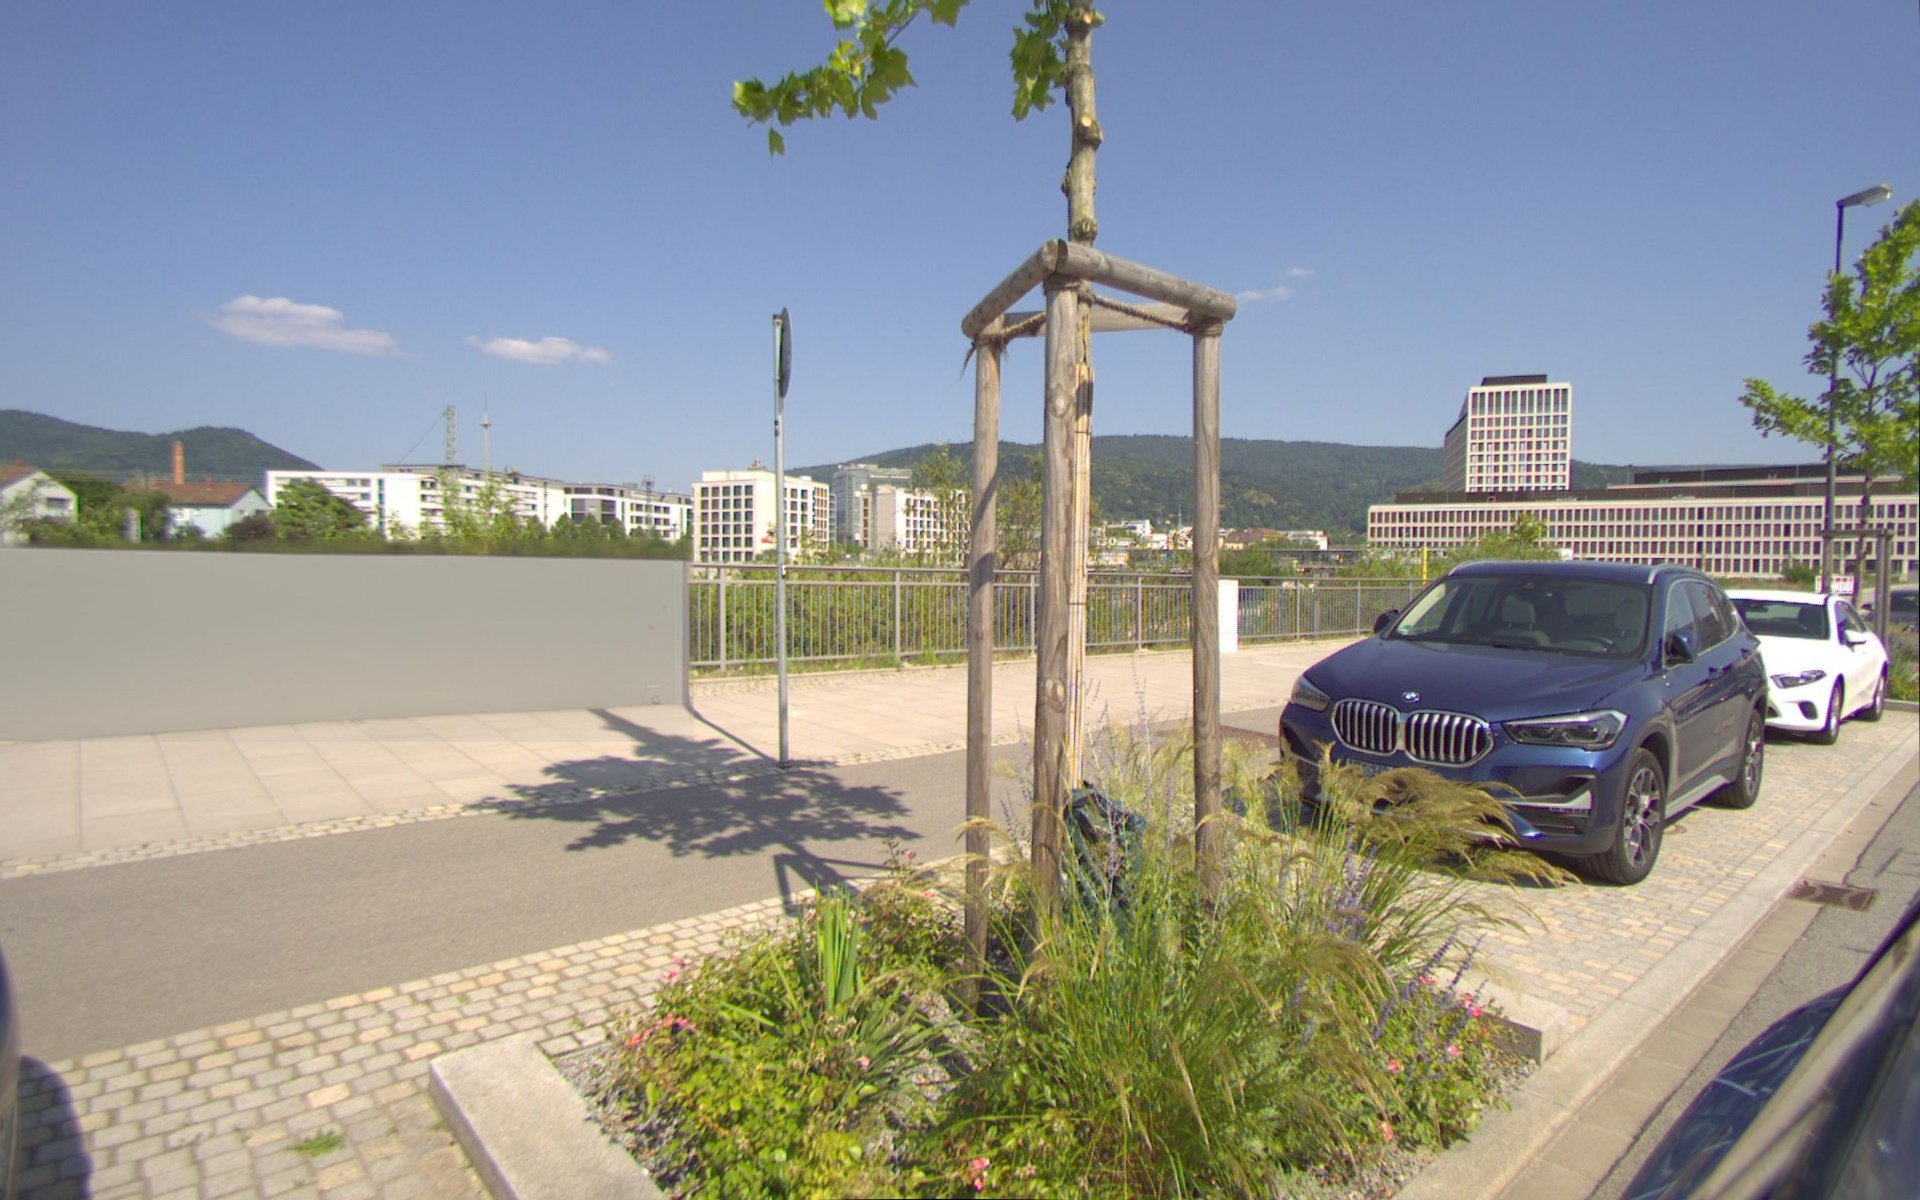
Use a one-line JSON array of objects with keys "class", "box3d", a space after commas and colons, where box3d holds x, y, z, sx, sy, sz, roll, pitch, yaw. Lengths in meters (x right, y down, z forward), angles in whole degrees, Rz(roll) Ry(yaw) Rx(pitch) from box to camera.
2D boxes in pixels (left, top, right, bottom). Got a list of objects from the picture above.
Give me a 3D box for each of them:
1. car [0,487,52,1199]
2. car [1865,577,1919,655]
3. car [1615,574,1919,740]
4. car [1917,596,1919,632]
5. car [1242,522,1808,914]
[{"class": "car", "box3d": [-2.832, 0.613, 0.514, 3.485, 1.574, 1.585, 0, 4, -41]}, {"class": "car", "box3d": [20.245, 0.314, 20.909, 3.849, 1.449, 1.808, -1, 5, -41]}, {"class": "car", "box3d": [8.915, 0.463, 11.037, 4.194, 1.390, 1.711, -1, 5, -39]}, {"class": "car", "box3d": [27.489, 0.142, 27.682, 2.955, 1.491, 1.569, -1, 5, -41]}, {"class": "car", "box3d": [3.785, 0.424, 6.445, 4.197, 1.703, 1.807, -1, 4, -41]}]
